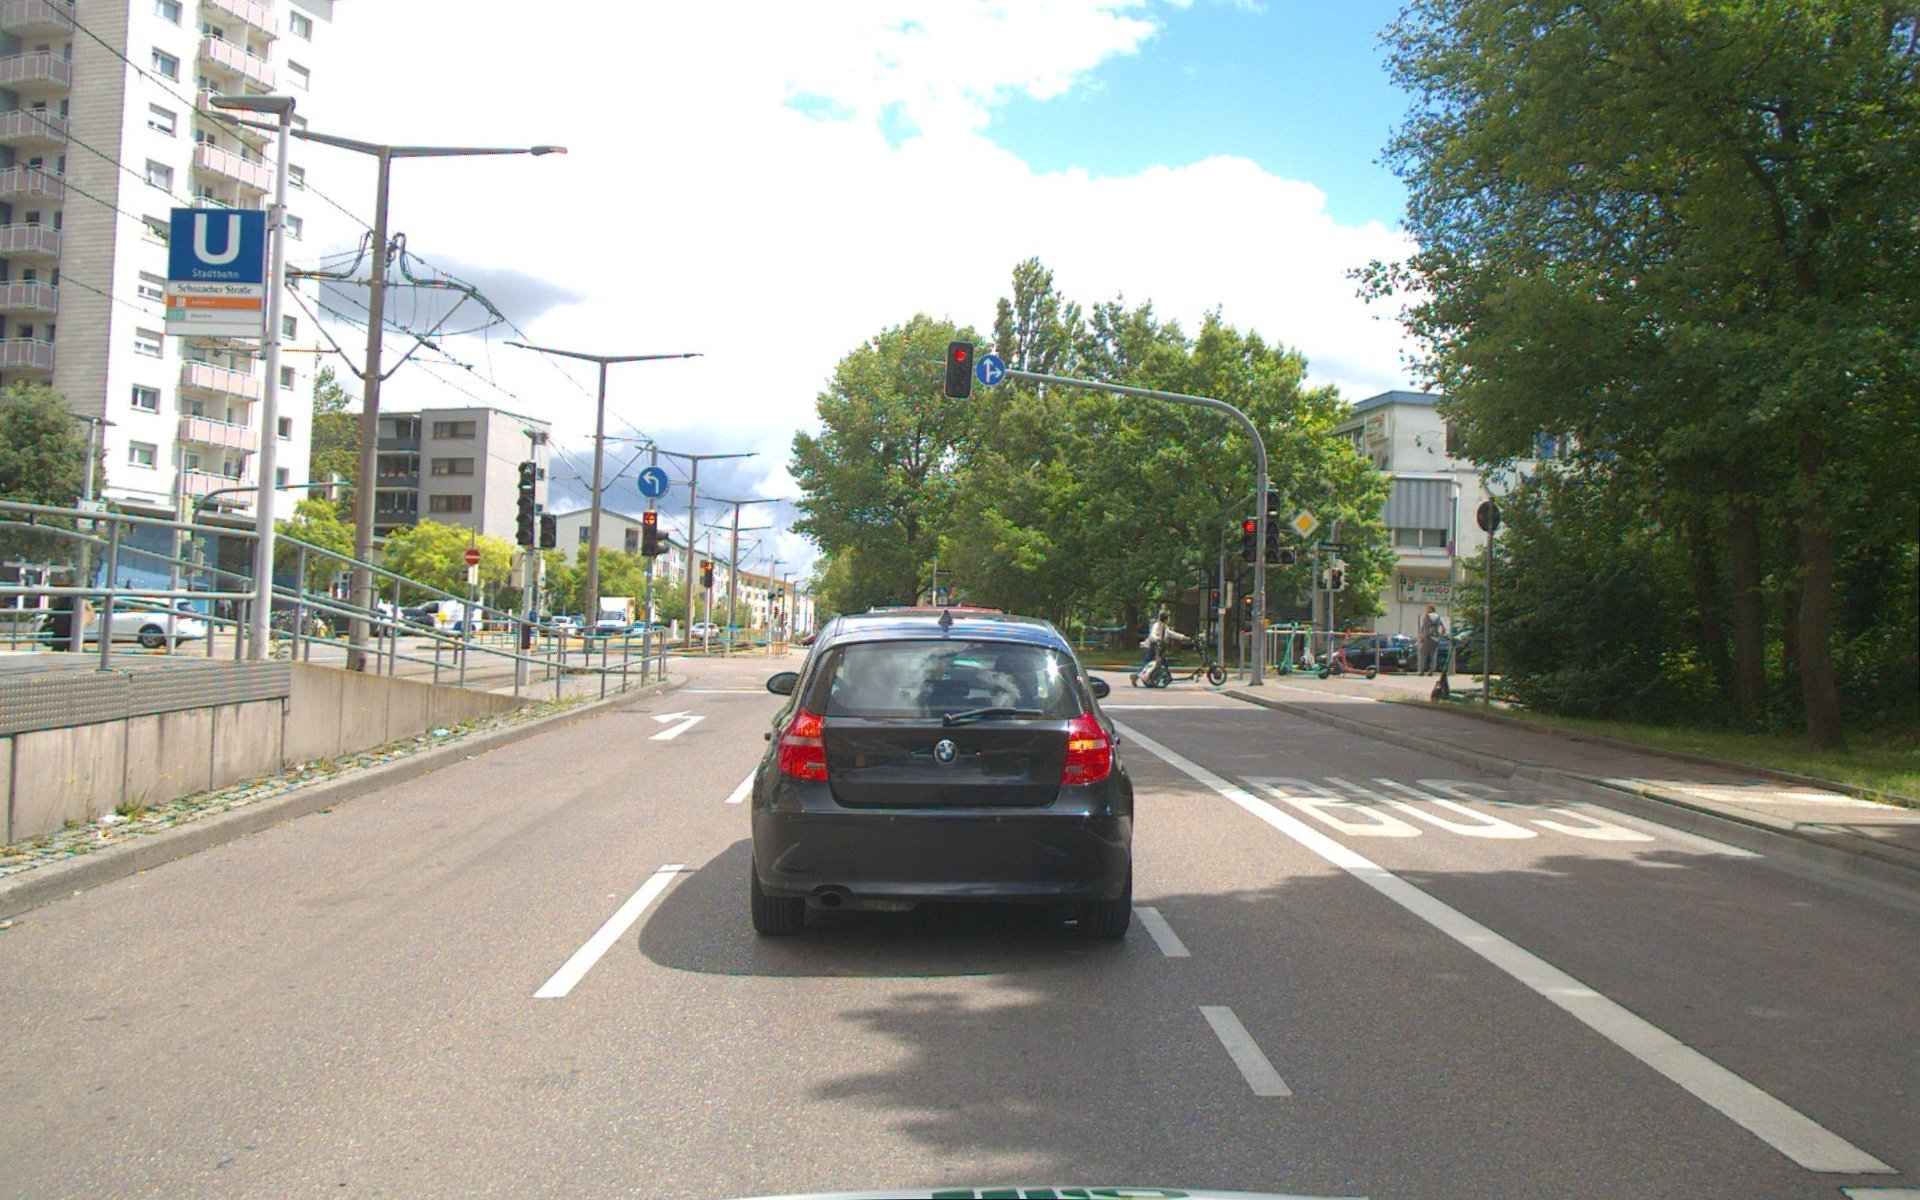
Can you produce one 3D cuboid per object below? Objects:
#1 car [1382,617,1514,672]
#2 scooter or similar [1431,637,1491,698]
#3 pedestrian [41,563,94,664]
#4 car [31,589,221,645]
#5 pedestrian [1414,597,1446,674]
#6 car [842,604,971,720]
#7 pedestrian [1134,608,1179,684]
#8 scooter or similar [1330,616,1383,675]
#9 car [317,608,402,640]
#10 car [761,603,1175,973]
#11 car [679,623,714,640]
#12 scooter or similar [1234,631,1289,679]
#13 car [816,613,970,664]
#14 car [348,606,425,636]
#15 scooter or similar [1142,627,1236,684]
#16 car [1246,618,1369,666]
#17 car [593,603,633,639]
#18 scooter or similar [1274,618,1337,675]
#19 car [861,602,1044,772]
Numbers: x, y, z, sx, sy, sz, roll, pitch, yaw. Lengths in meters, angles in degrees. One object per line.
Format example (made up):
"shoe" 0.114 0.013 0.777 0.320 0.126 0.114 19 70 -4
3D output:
"car" 14.913 1.355 50.639 3.515 1.629 1.706 1 -1 -13
"scooter or similar" 9.358 1.265 30.899 1.133 1.118 0.329 1 -1 -25
"pedestrian" -15.004 0.222 27.801 0.696 1.661 0.629 0 0 -38
"car" -23.953 0.492 47.678 4.491 1.553 1.939 1 0 -12
"pedestrian" 11.404 0.863 40.121 0.600 1.821 0.569 4 -1 18
"car" -0.753 0.794 22.798 1.621 1.443 3.515 1 0 -2
"pedestrian" 3.845 0.890 32.307 0.846 1.468 0.799 1 0 6
"scooter or similar" 8.672 0.998 36.149 1.087 1.280 0.331 1 0 -13
"car" -28.878 1.135 79.611 3.537 1.488 1.613 1 0 -9
"car" 0.061 0.747 8.325 1.620 1.443 3.517 1 0 1
"car" -25.555 3.040 160.463 1.925 1.624 4.003 1 0 13
"scooter or similar" 6.207 1.121 34.017 1.102 0.974 0.299 1 0 -17
"car" -2.107 1.177 51.311 4.554 1.506 1.995 1 0 -10
"car" -29.977 1.090 86.539 3.537 1.488 1.613 1 0 -9
"scooter or similar" 4.416 1.072 31.895 1.749 1.069 0.409 1 0 -12
"car" 11.120 1.342 53.001 3.537 1.488 1.613 1 0 -9
"car" -26.857 1.635 128.277 2.096 2.686 5.356 1 0 -2
"scooter or similar" 7.371 0.990 35.294 1.267 1.210 0.383 1 0 -17
"car" -0.067 0.753 16.015 1.562 1.443 3.516 1 0 0
